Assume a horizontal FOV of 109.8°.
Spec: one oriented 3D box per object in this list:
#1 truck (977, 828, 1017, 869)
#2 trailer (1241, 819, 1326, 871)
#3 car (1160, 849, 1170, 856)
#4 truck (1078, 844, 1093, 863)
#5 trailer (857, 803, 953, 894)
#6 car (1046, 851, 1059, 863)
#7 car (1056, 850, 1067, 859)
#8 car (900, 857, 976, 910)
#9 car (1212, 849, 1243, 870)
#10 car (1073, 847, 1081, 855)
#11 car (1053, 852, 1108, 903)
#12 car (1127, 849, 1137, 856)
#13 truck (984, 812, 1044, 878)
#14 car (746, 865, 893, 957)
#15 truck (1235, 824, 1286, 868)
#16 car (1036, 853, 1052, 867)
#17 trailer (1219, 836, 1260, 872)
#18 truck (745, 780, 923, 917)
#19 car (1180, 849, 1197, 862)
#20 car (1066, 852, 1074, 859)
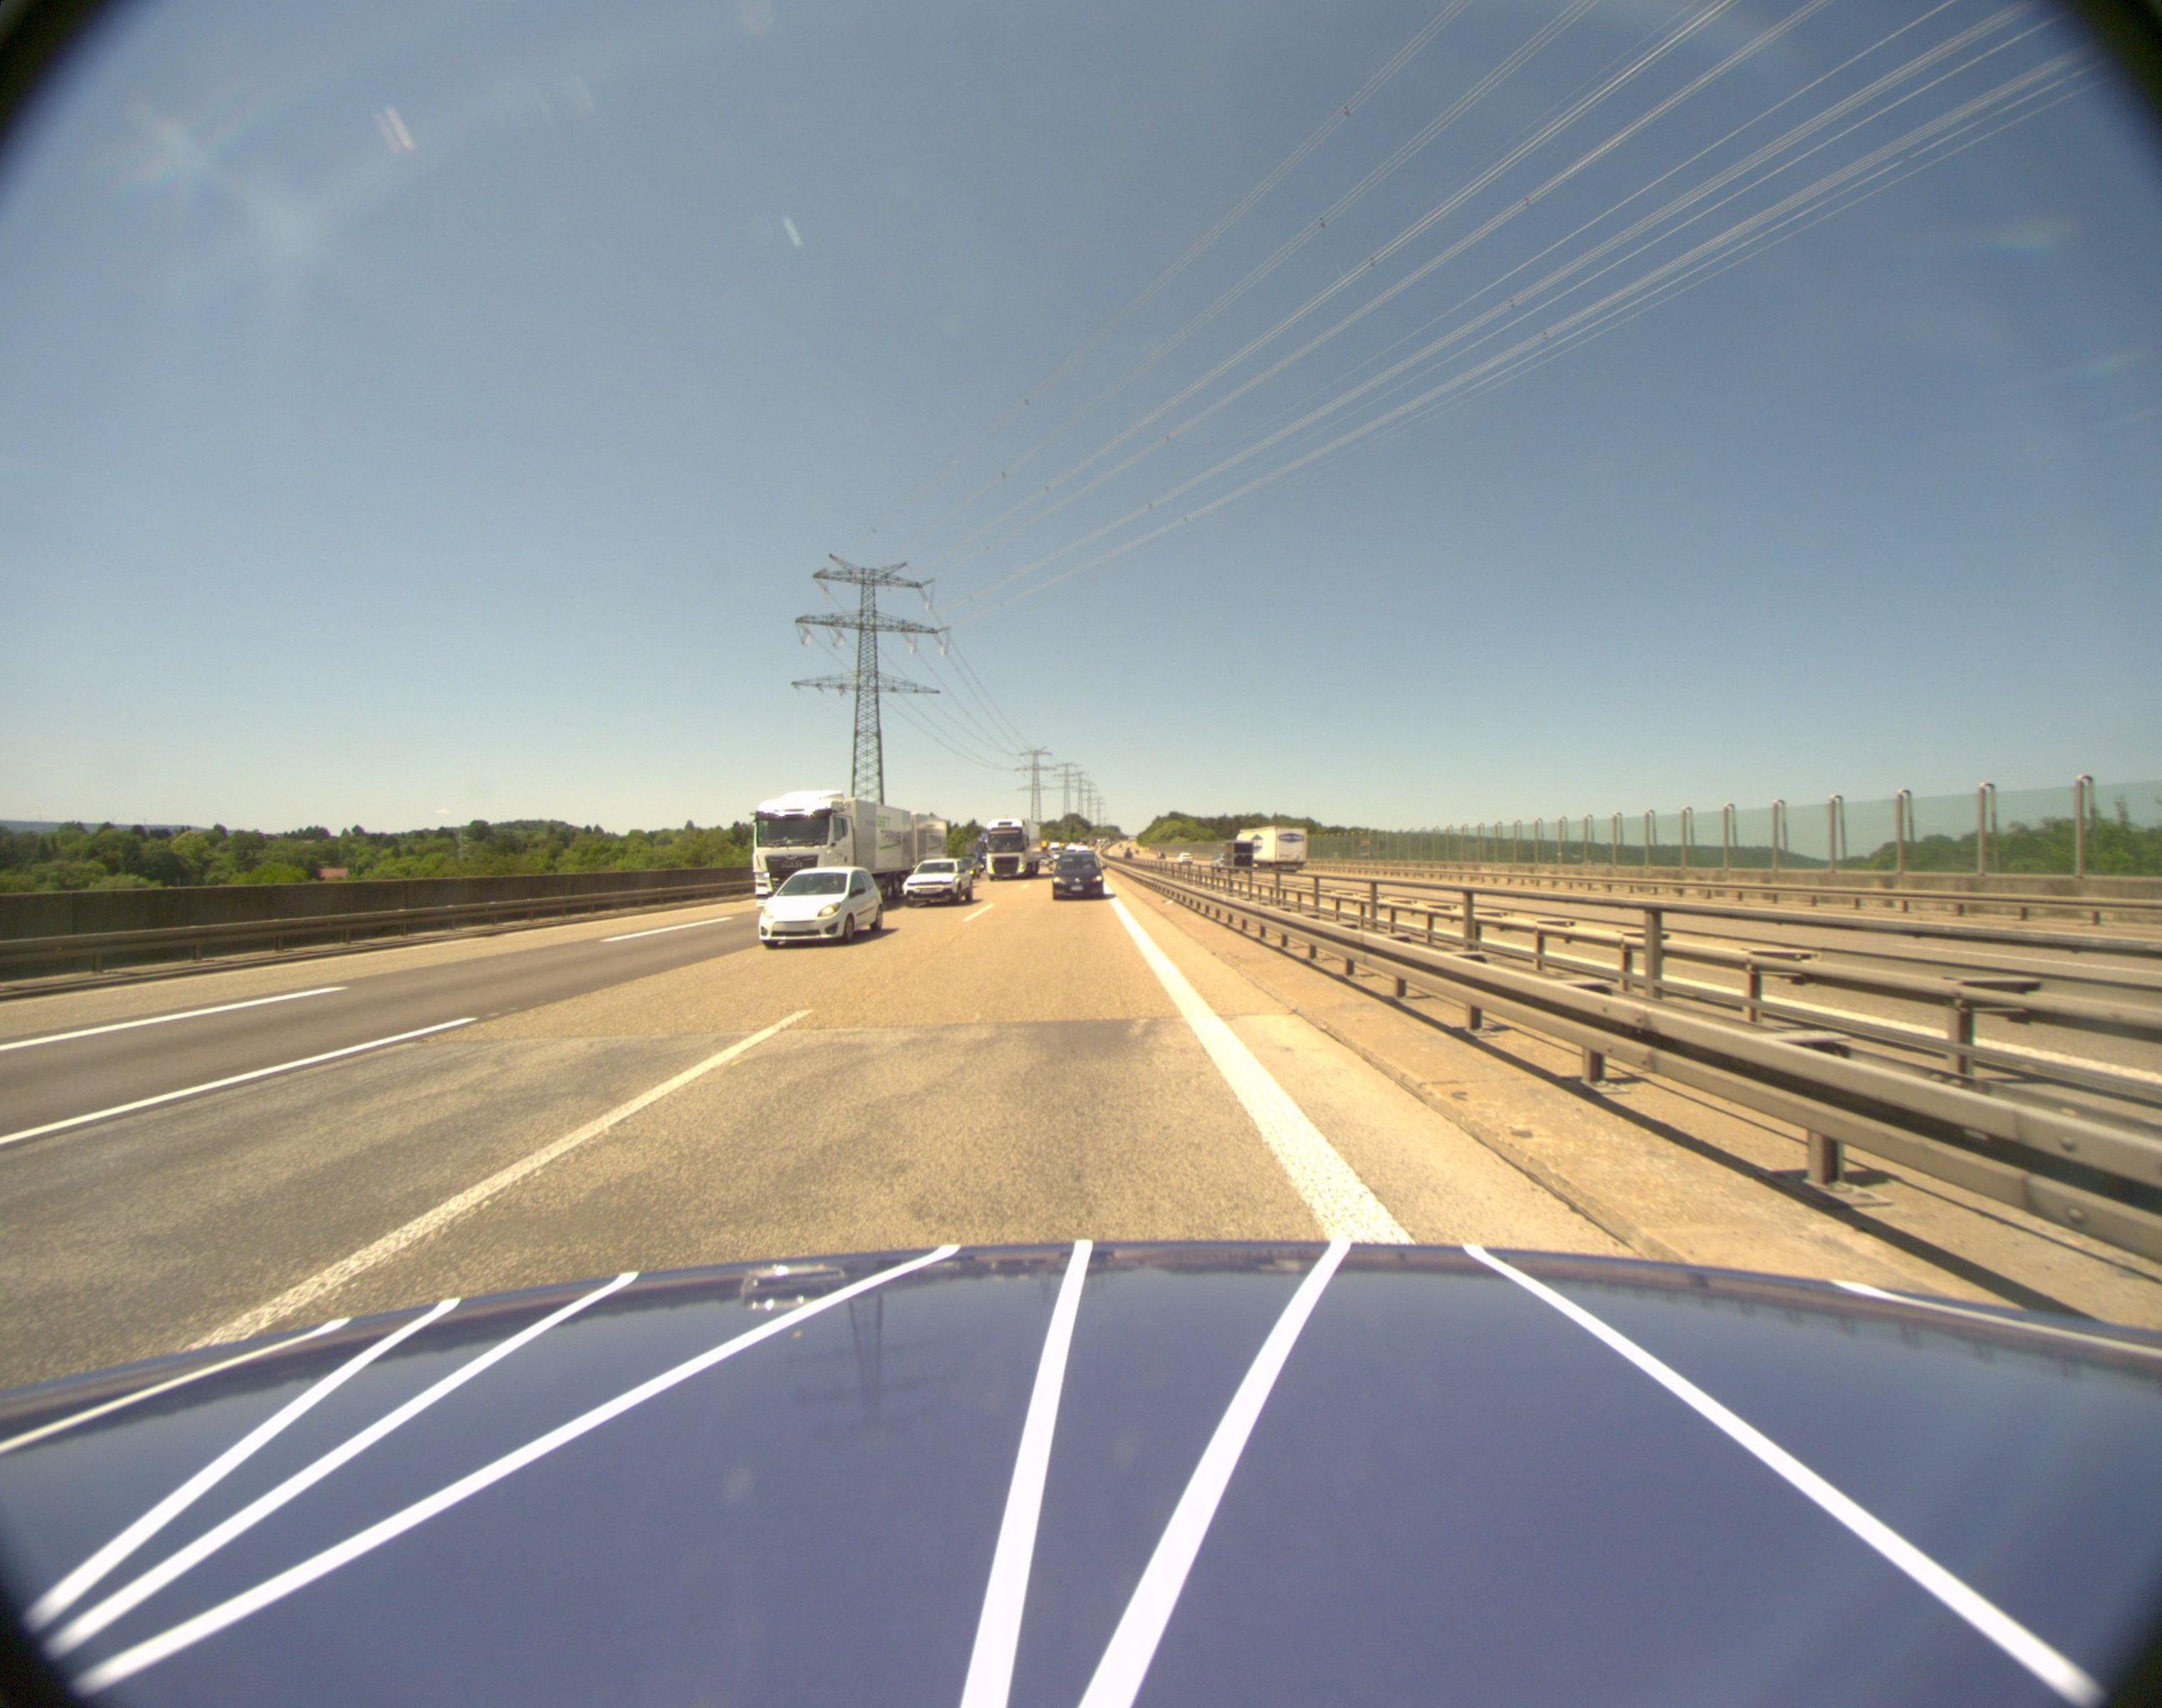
[{"bbox_3d":[-8.708,-0.636,79.935,2.841,3.858,11.271,-2,1,0],"label":"truck"},{"bbox_3d":[17.890,-0.735,68.562,3.999,4.211,14.039,0,0,0],"label":"trailer"},{"bbox_3d":[18.374,-0.340,166.468,1.656,1.454,3.541,0,1,0],"label":"car"},{"bbox_3d":[0.786,-0.094,122.129,2.310,2.789,5.109,-2,1,1],"label":"truck"},{"bbox_3d":[-8.427,-0.269,37.445,2.752,3.918,7.772,-2,0,0],"label":"trailer"},{"bbox_3d":[-4.173,0.437,111.812,1.821,1.569,3.999,-2,1,0],"label":"car"},{"bbox_3d":[-3.409,0.096,132.160,1.821,1.569,3.999,-2,1,0],"label":"car"},{"bbox_3d":[-4.781,0.945,25.960,1.776,1.521,3.851,-2,1,1],"label":"car"},{"bbox_3d":[12.915,0.465,67.285,1.875,1.616,4.628,2,1,0],"label":"car"},{"bbox_3d":[-1.099,-0.796,205.195,1.998,2.002,3.999,-2,1,0],"label":"car"},{"bbox_3d":[0.013,0.772,26.829,1.748,1.569,3.999,-2,1,1],"label":"car"},{"bbox_3d":[10.851,-0.329,161.904,1.796,1.563,3.999,-2,1,0],"label":"car"},{"bbox_3d":[-4.521,-0.591,54.688,2.718,4.015,14.255,-2,0,1],"label":"truck"},{"bbox_3d":[-5.210,1.066,15.674,1.659,1.501,3.825,-2,1,0],"label":"car"},{"bbox_3d":[17.986,-0.797,76.455,4.016,4.204,4.858,0,1,0],"label":"truck"},{"bbox_3d":[-4.633,0.700,95.758,1.821,1.569,3.999,-2,1,0],"label":"car"},{"bbox_3d":[12.973,-0.035,62.401,2.171,2.761,5.375,2,1,0],"label":"trailer"},{"bbox_3d":[-8.419,-0.188,27.909,2.695,3.907,11.296,-2,0,0],"label":"truck"},{"bbox_3d":[14.853,0.206,105.579,1.753,1.686,4.384,1,1,0],"label":"car"},{"bbox_3d":[-2.482,0.381,174.518,1.821,1.569,3.999,-2,1,0],"label":"car"}]
